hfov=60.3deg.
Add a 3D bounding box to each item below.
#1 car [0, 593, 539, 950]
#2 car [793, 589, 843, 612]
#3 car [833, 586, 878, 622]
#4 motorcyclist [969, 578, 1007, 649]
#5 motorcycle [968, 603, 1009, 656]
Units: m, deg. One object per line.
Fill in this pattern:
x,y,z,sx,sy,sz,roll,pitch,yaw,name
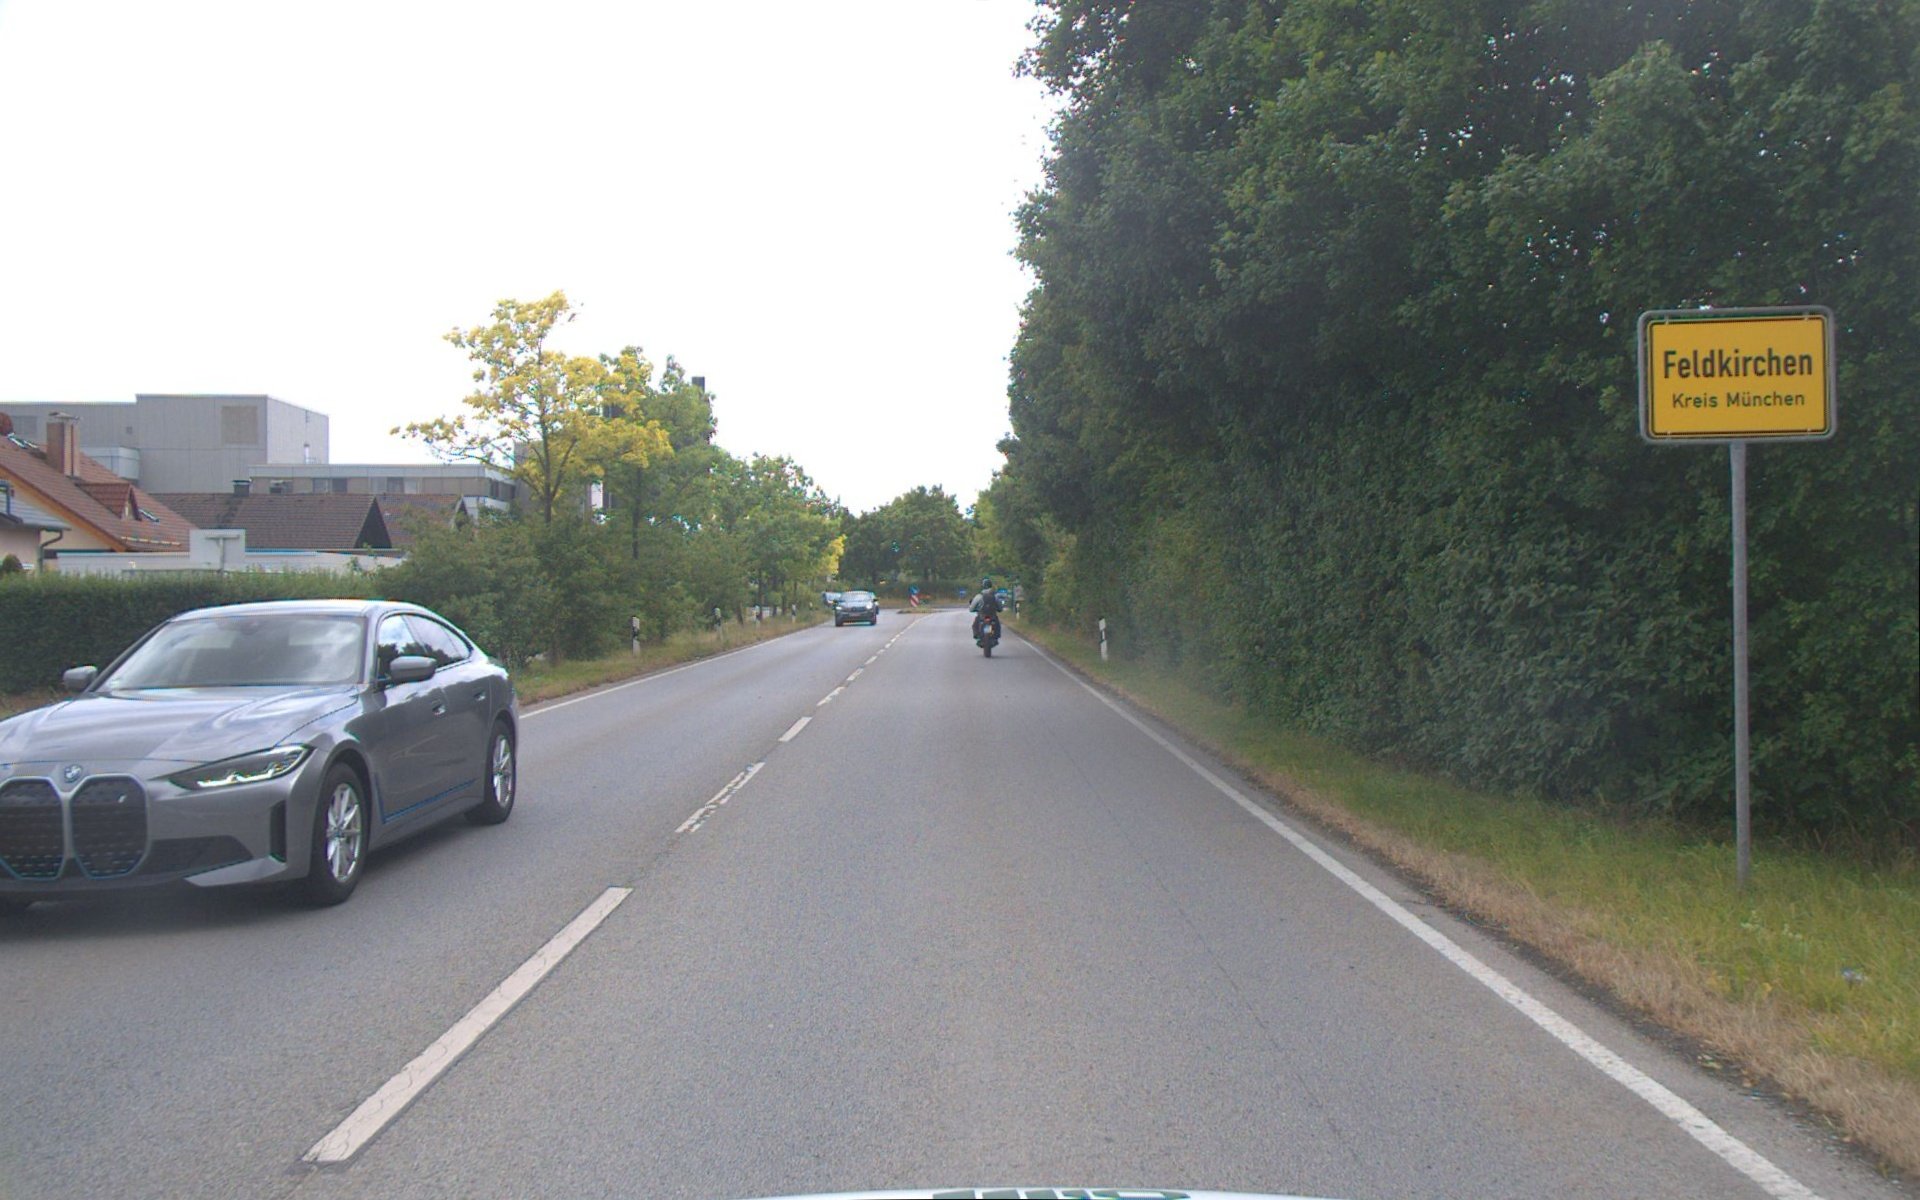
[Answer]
-3.811,0.734,9.287,1.815,1.490,4.370,-1,0,-1,car
-10.810,0.034,126.008,1.723,1.561,4.035,-4,1,-40,car
-4.683,0.175,74.680,1.779,1.520,4.203,-2,0,-1,car
0.659,0.308,38.940,0.844,1.652,1.190,0,0,-1,motorcyclist
0.660,0.665,38.803,0.878,1.178,2.620,0,0,-1,motorcycle
